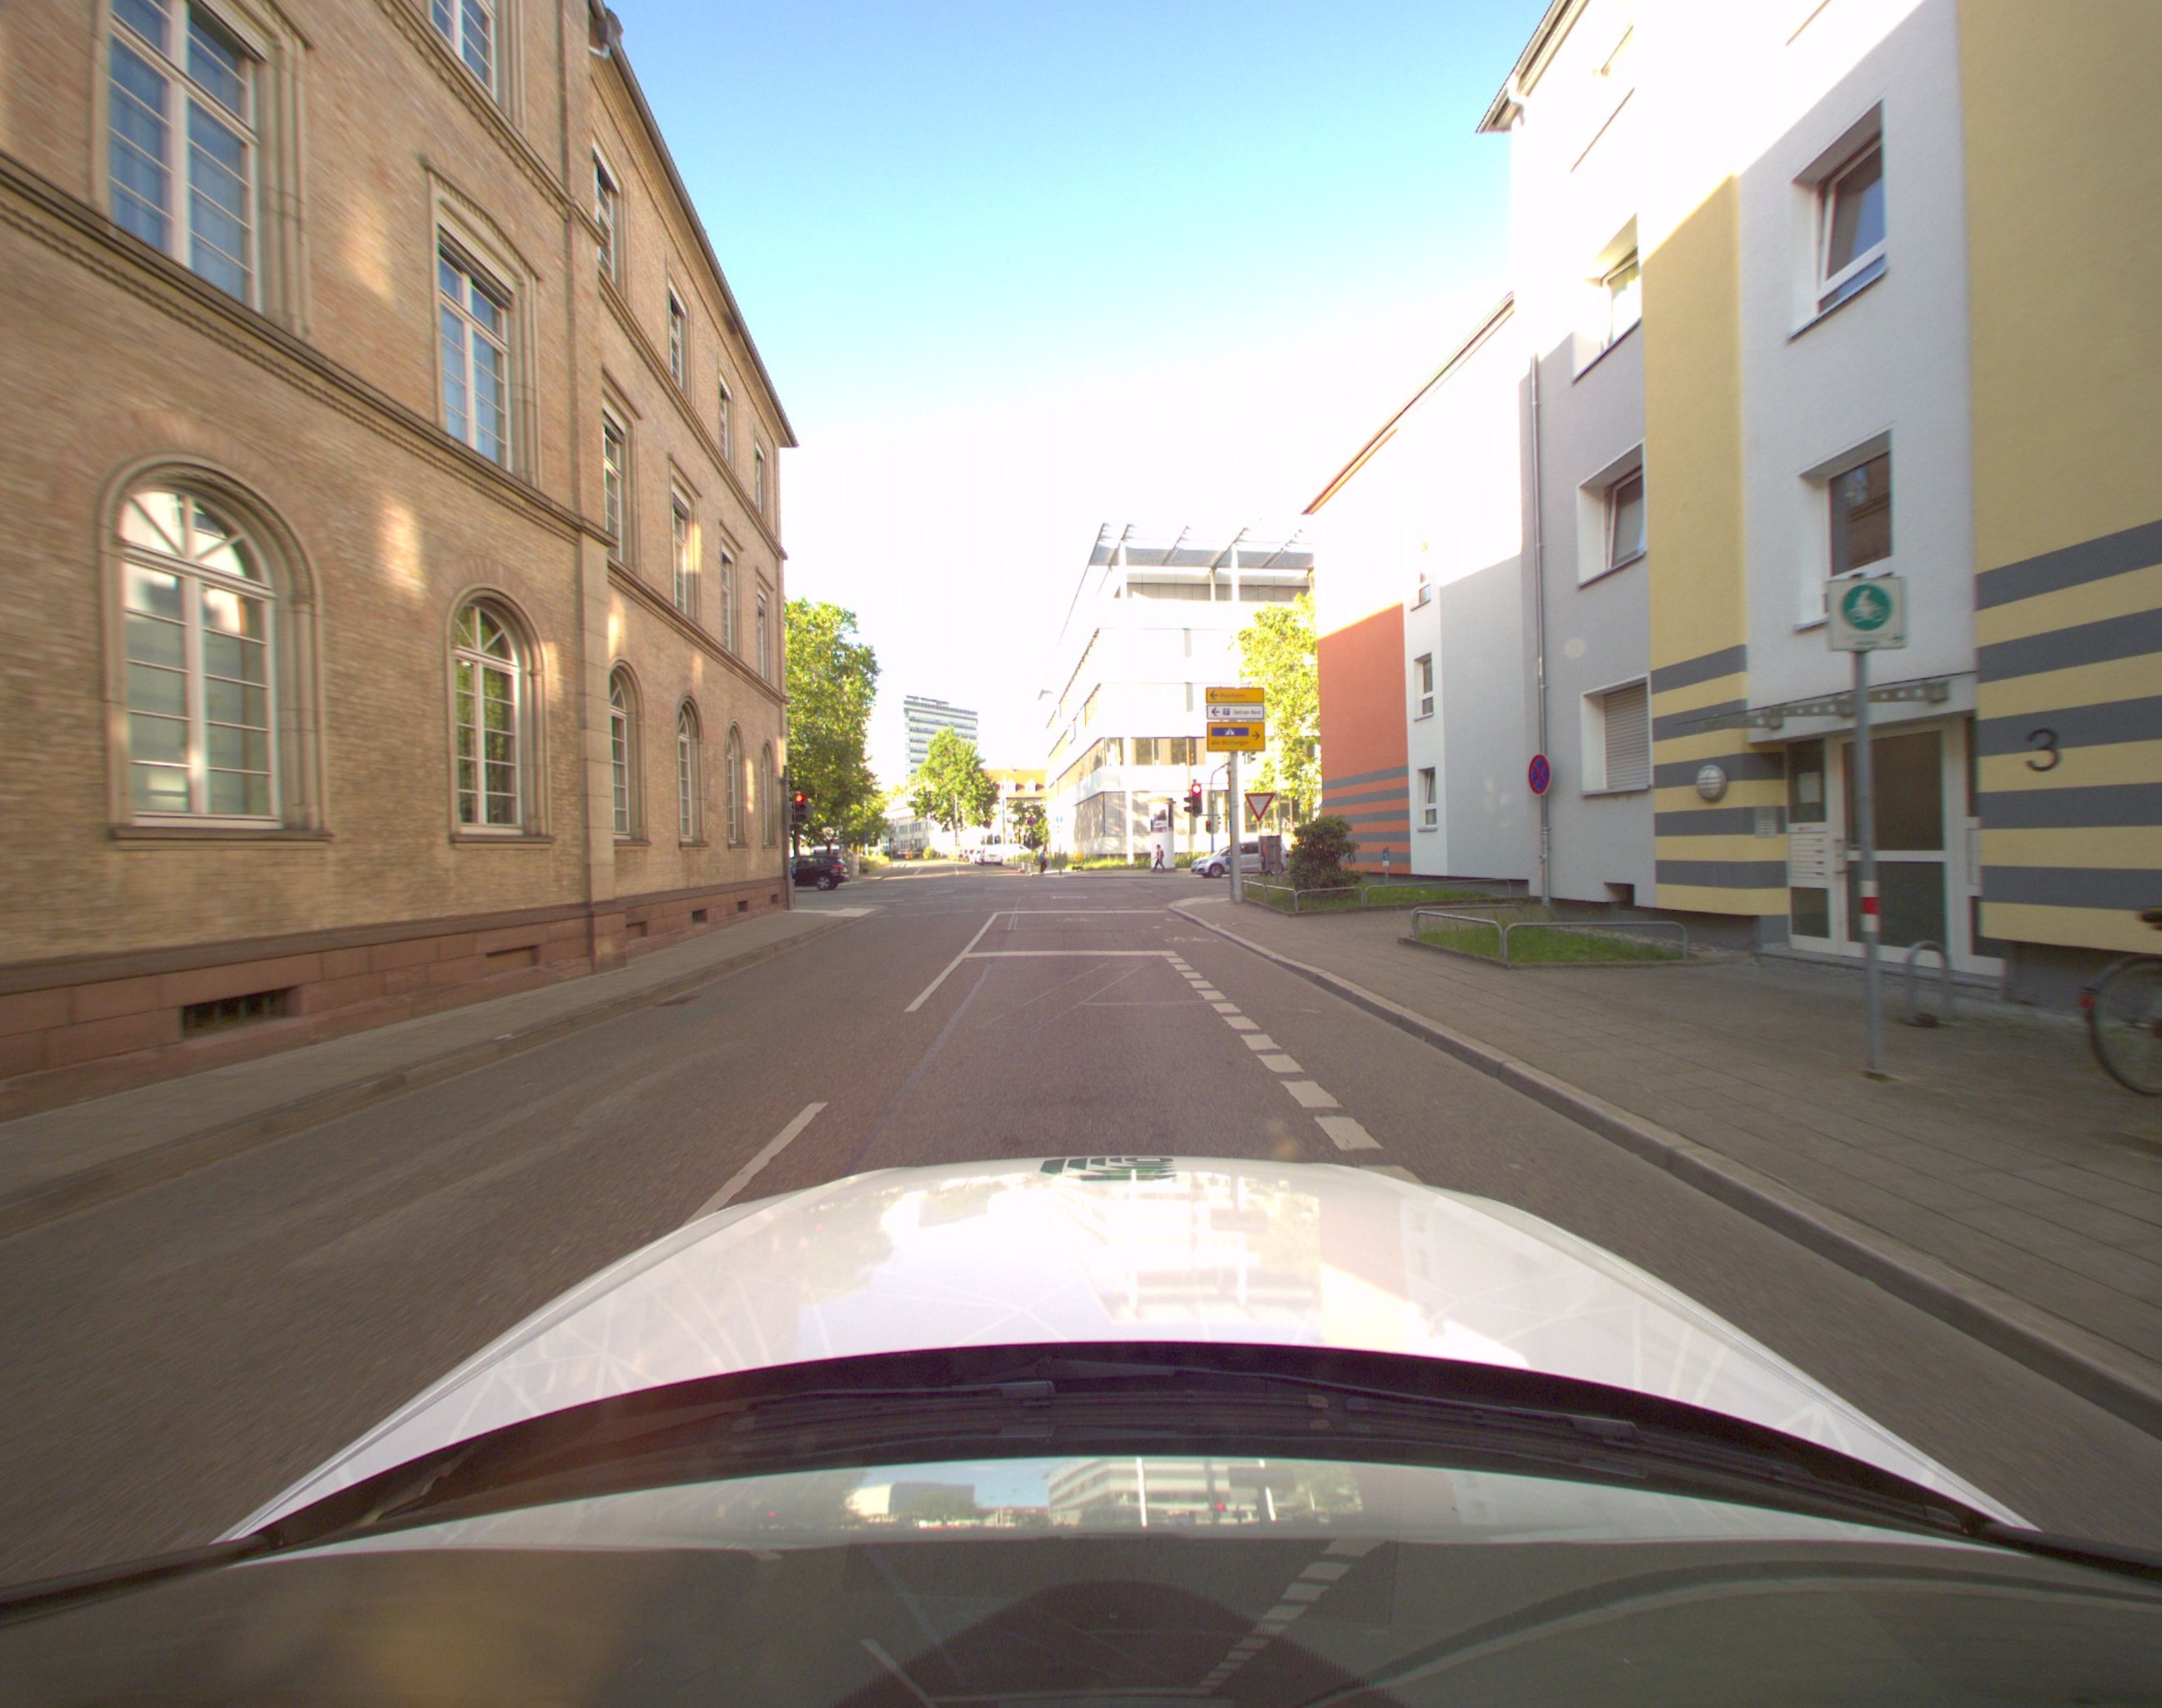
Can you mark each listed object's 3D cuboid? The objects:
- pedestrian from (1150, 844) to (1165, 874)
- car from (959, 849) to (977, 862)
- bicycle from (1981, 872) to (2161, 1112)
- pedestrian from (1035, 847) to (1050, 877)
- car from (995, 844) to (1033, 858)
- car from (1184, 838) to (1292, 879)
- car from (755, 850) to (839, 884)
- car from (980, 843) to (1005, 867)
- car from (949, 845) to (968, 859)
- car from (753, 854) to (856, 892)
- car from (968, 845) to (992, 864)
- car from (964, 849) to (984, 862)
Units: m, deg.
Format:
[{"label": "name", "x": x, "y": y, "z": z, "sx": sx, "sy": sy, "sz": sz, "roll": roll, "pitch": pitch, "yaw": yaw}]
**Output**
[{"label": "pedestrian", "x": 4.152, "y": 0.259, "z": 44.173, "sx": 0.710, "sy": 1.599, "sz": 0.617, "roll": -2, "pitch": 0, "yaw": -1}, {"label": "car", "x": -13.141, "y": 0.139, "z": 94.461, "sx": 1.705, "sy": 1.464, "sz": 4.221, "roll": -2, "pitch": 1, "yaw": -12}, {"label": "bicycle", "x": 5.964, "y": 0.640, "z": 4.236, "sx": 1.939, "sy": 1.061, "sz": 0.635, "roll": -3, "pitch": 0, "yaw": -4}, {"label": "pedestrian", "x": -2.281, "y": 0.449, "z": 48.129, "sx": 0.654, "sy": 1.736, "sz": 0.808, "roll": -2, "pitch": 0, "yaw": -15}, {"label": "car", "x": -9.247, "y": -0.437, "z": 111.569, "sx": 4.894, "sy": 1.872, "sz": 1.988, "roll": 0, "pitch": -1, "yaw": -18}, {"label": "car", "x": 7.524, "y": 0.204, "z": 39.301, "sx": 4.754, "sy": 1.707, "sz": 1.796, "roll": -3, "pitch": 1, "yaw": -7}, {"label": "car", "x": -16.202, "y": 0.715, "z": 46.695, "sx": 4.223, "sy": 1.777, "sz": 1.899, "roll": -2, "pitch": 0, "yaw": -9}, {"label": "car", "x": -8.006, "y": 0.078, "z": 73.347, "sx": 2.067, "sy": 1.963, "sz": 4.225, "roll": -2, "pitch": 1, "yaw": -9}, {"label": "car", "x": -15.714, "y": -0.254, "z": 104.223, "sx": 2.102, "sy": 1.657, "sz": 4.458, "roll": -2, "pitch": 1, "yaw": -12}, {"label": "car", "x": -12.274, "y": 0.806, "z": 36.328, "sx": 3.981, "sy": 1.525, "sz": 1.865, "roll": -2, "pitch": 0, "yaw": -6}, {"label": "car", "x": -10.567, "y": 0.046, "z": 85.051, "sx": 1.949, "sy": 1.795, "sz": 4.219, "roll": -2, "pitch": 1, "yaw": -13}, {"label": "car", "x": -11.762, "y": 0.152, "z": 89.679, "sx": 1.706, "sy": 1.424, "sz": 4.218, "roll": -2, "pitch": 1, "yaw": -14}]
